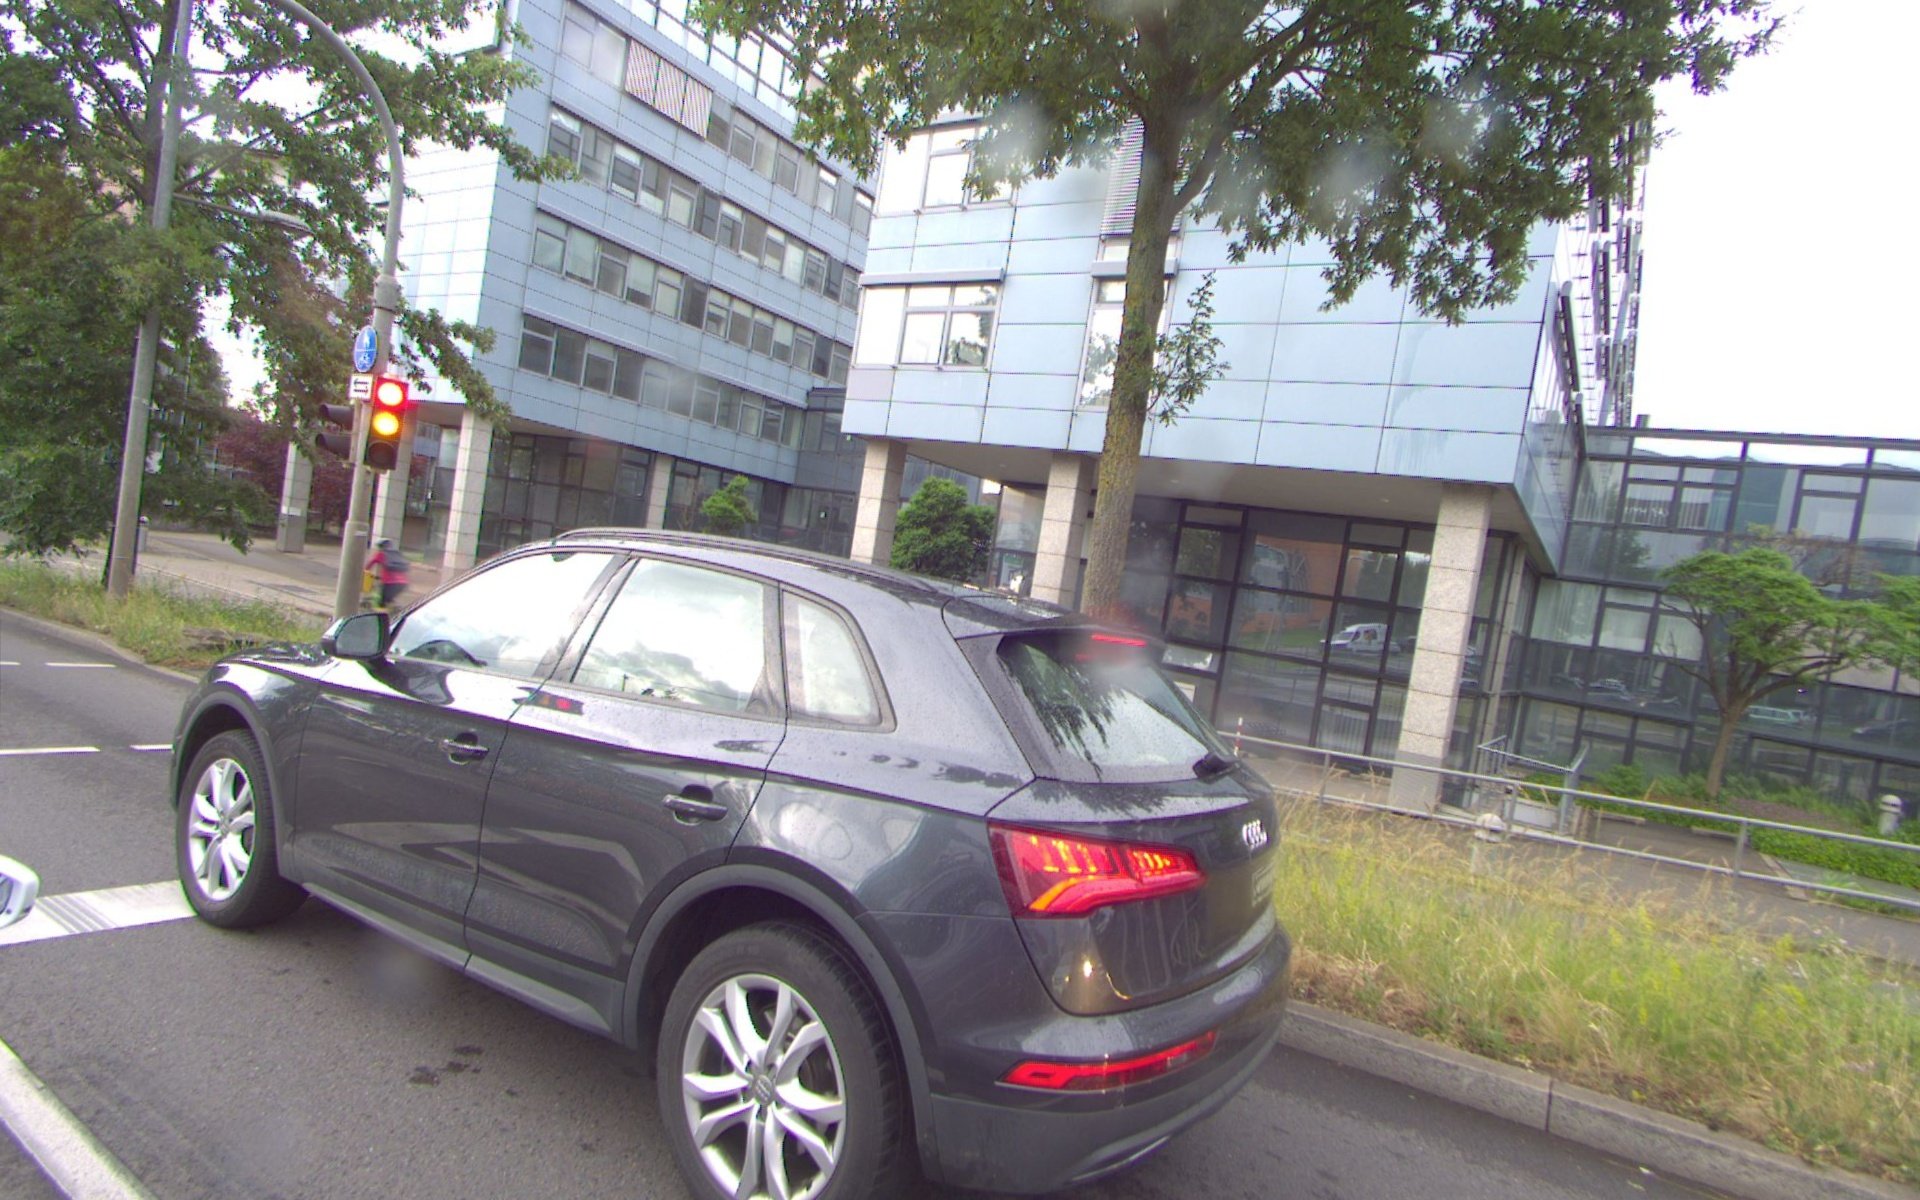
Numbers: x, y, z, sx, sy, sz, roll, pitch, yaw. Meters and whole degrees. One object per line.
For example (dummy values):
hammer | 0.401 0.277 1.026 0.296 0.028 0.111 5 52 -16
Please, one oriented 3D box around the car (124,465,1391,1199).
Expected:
car | -0.985 0.570 3.722 4.396 1.632 1.821 7 -1 32

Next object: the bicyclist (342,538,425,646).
bicyclist | -9.235 -0.124 16.117 0.840 1.597 0.647 8 -1 32

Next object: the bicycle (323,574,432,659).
bicycle | -9.396 0.255 16.208 1.874 1.101 0.581 7 -1 32
